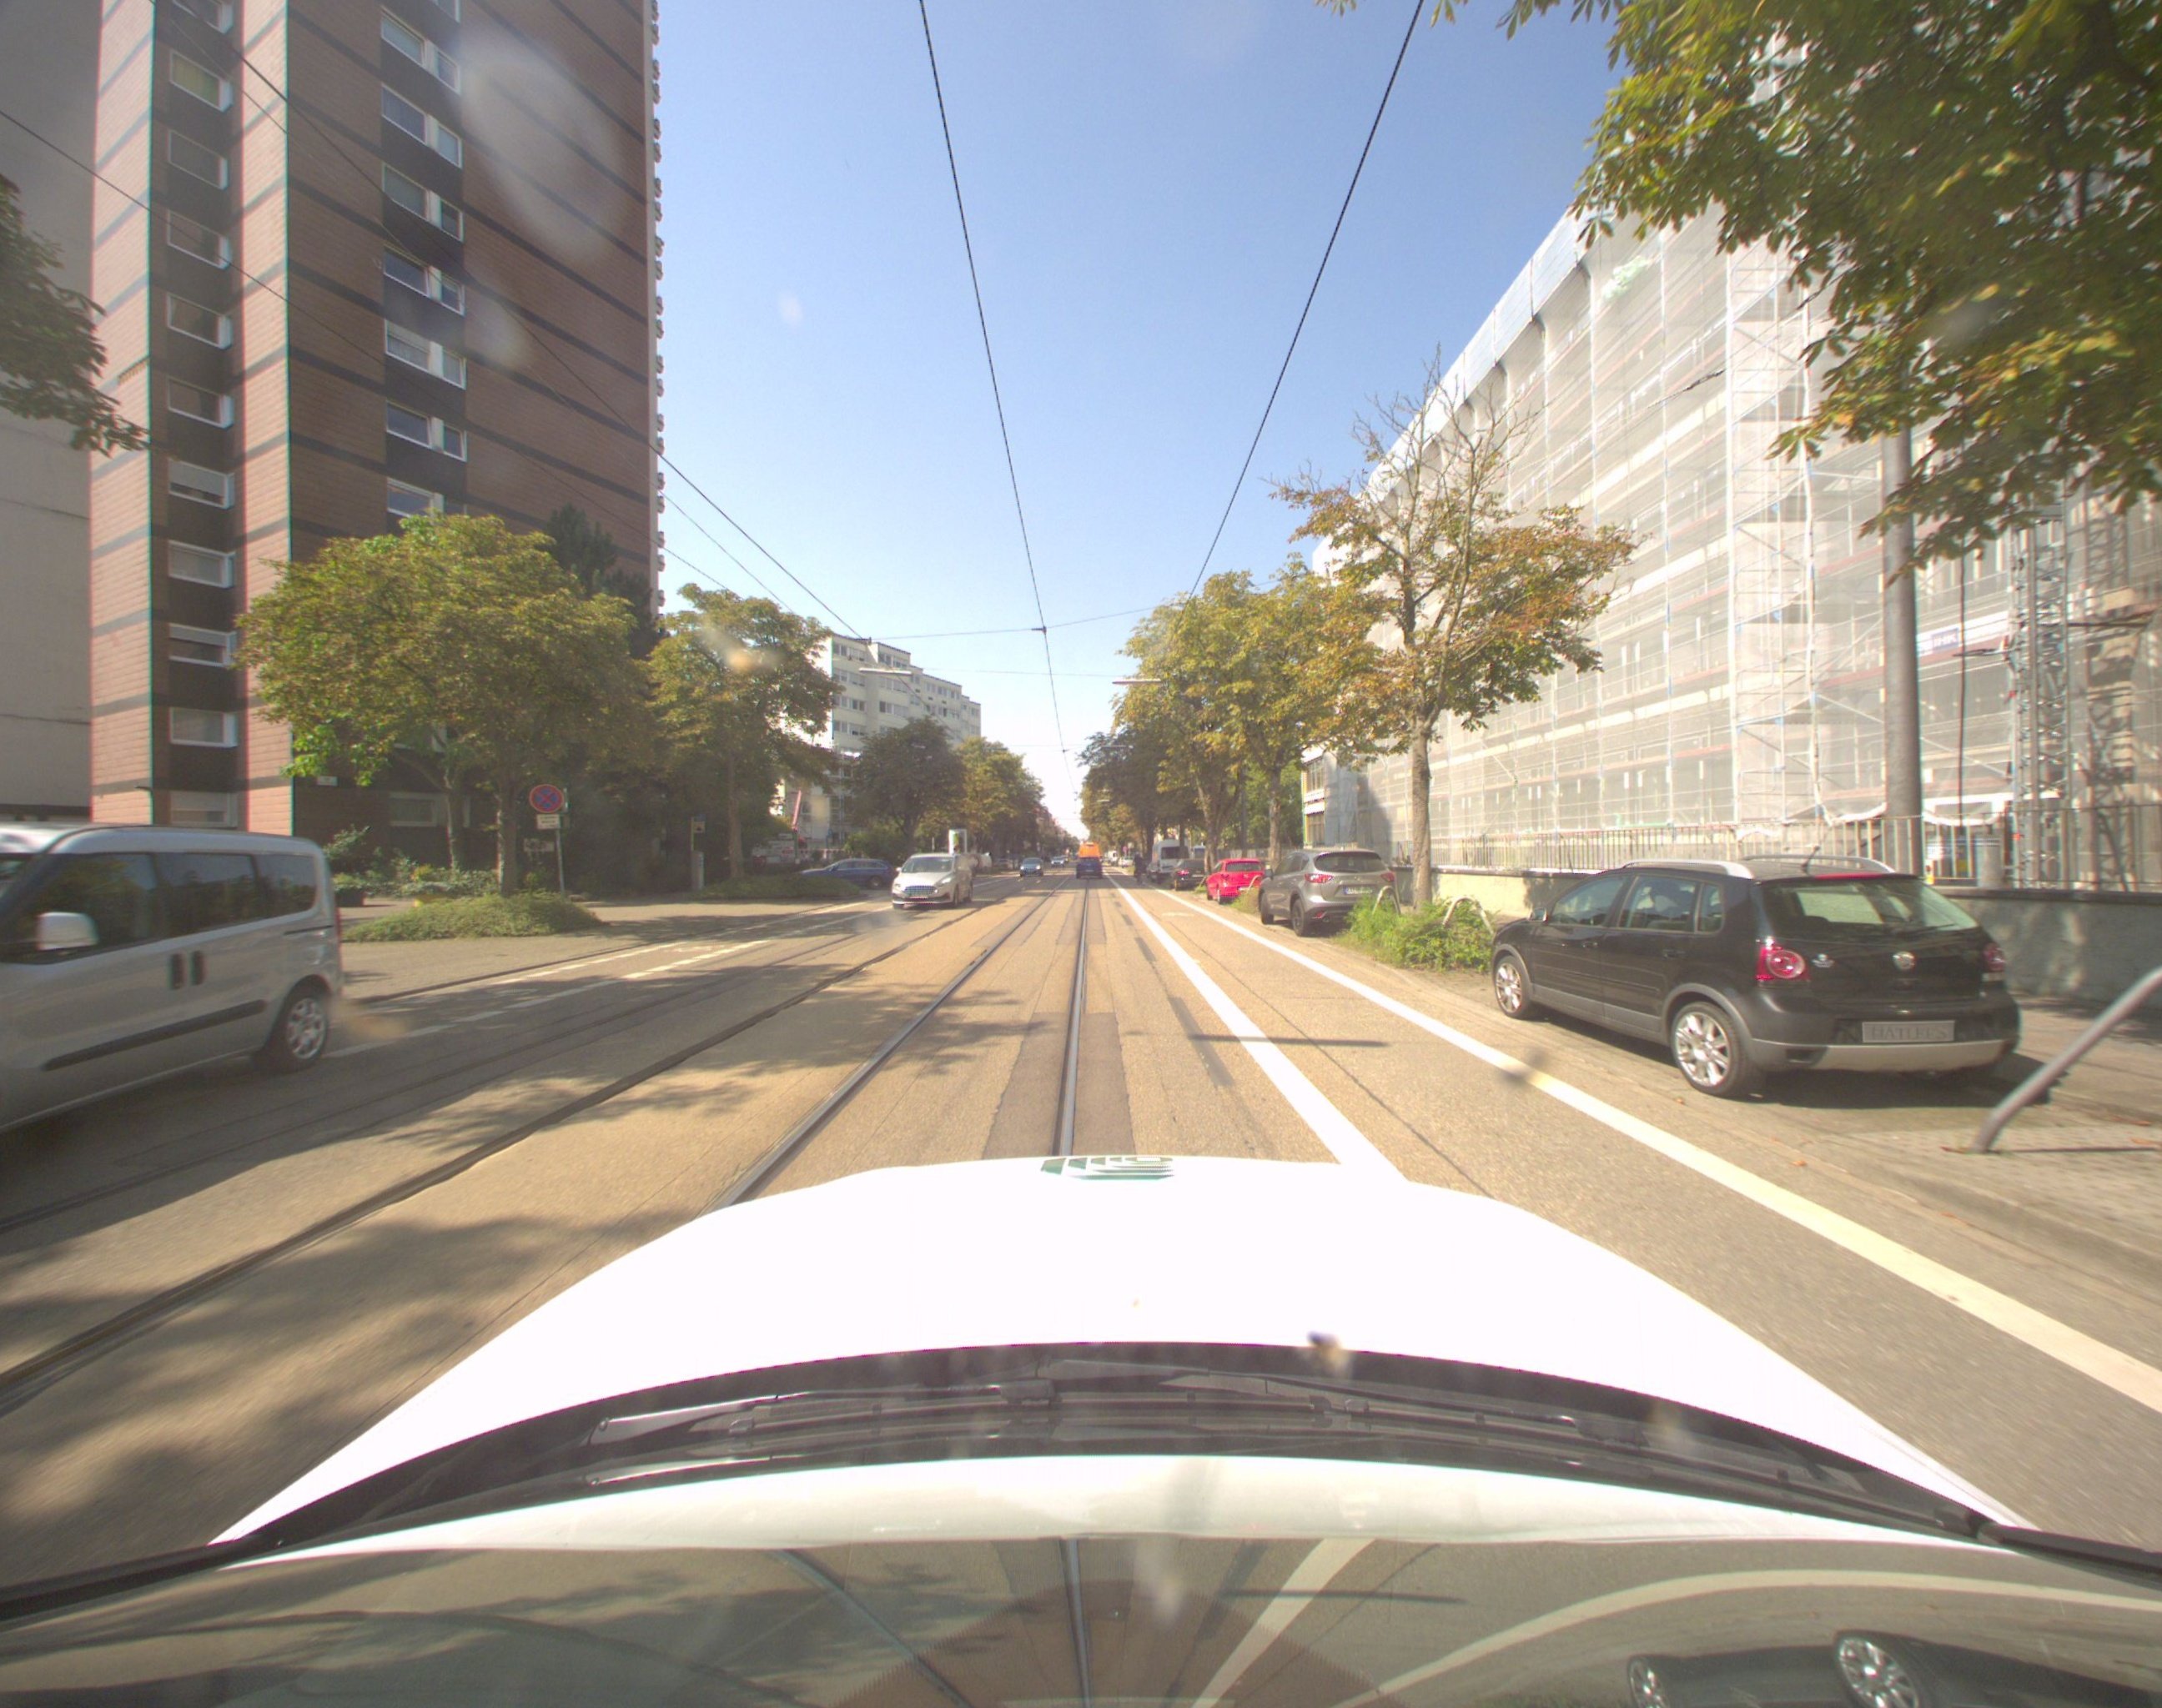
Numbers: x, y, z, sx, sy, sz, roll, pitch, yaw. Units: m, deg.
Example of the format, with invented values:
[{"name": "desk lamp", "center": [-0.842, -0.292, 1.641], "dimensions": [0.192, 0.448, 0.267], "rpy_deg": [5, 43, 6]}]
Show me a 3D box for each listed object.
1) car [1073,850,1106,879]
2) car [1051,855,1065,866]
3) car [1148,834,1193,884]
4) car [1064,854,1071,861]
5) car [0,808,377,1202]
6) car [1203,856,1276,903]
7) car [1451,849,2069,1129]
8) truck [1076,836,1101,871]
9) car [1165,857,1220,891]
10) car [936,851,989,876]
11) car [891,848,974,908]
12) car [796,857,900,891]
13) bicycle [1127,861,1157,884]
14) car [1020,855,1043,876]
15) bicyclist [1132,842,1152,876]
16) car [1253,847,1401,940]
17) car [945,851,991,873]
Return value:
[{"name": "car", "center": [0.603, 0.670, 56.387], "dimensions": [2.128, 1.858, 5.569], "rpy_deg": [-1, 0, 1]}, {"name": "car", "center": [-3.359, 0.873, 117.986], "dimensions": [1.893, 1.562, 4.121], "rpy_deg": [0, 0, -1]}, {"name": "car", "center": [5.173, 0.260, 47.952], "dimensions": [1.987, 2.755, 5.760], "rpy_deg": [0, 0, 0]}, {"name": "car", "center": [-3.788, 0.937, 230.810], "dimensions": [1.741, 1.796, 3.999], "rpy_deg": [0, 0, 0]}, {"name": "car", "center": [-6.044, 0.692, 4.467], "dimensions": [1.750, 1.796, 3.979], "rpy_deg": [0, 0, -16]}, {"name": "car", "center": [5.216, 0.802, 27.216], "dimensions": [1.735, 1.462, 3.683], "rpy_deg": [0, 0, 0]}, {"name": "car", "center": [4.829, 0.764, 6.741], "dimensions": [1.628, 1.585, 4.187], "rpy_deg": [0, 0, 0]}, {"name": "truck", "center": [0.693, -0.040, 75.489], "dimensions": [2.128, 3.124, 6.085], "rpy_deg": [-1, 0, 1]}, {"name": "car", "center": [5.038, 0.869, 37.356], "dimensions": [1.902, 1.431, 4.291], "rpy_deg": [0, 0, 0]}, {"name": "car", "center": [-9.665, 0.743, 66.594], "dimensions": [4.022, 2.013, 1.834], "rpy_deg": [0, 0, -43]}, {"name": "car", "center": [-4.438, 0.682, 25.006], "dimensions": [1.774, 1.684, 4.346], "rpy_deg": [0, 0, 0]}, {"name": "car", "center": [-11.094, 0.913, 38.783], "dimensions": [4.589, 1.552, 1.985], "rpy_deg": [0, 0, -23]}, {"name": "bicycle", "center": [3.255, 0.973, 43.888], "dimensions": [1.397, 1.134, 4.000], "rpy_deg": [-1, 0, 1]}, {"name": "car", "center": [-3.907, 0.894, 64.637], "dimensions": [1.628, 1.585, 4.187], "rpy_deg": [0, 0, 0]}, {"name": "bicyclist", "center": [3.286, 0.275, 43.871], "dimensions": [1.028, 1.812, 1.016], "rpy_deg": [0, 0, 0]}, {"name": "car", "center": [4.884, 0.711, 16.835], "dimensions": [1.735, 1.668, 4.361], "rpy_deg": [0, 0, 0]}, {"name": "car", "center": [-10.707, 0.735, 77.267], "dimensions": [4.022, 2.013, 1.834], "rpy_deg": [0, 0, -43]}]
